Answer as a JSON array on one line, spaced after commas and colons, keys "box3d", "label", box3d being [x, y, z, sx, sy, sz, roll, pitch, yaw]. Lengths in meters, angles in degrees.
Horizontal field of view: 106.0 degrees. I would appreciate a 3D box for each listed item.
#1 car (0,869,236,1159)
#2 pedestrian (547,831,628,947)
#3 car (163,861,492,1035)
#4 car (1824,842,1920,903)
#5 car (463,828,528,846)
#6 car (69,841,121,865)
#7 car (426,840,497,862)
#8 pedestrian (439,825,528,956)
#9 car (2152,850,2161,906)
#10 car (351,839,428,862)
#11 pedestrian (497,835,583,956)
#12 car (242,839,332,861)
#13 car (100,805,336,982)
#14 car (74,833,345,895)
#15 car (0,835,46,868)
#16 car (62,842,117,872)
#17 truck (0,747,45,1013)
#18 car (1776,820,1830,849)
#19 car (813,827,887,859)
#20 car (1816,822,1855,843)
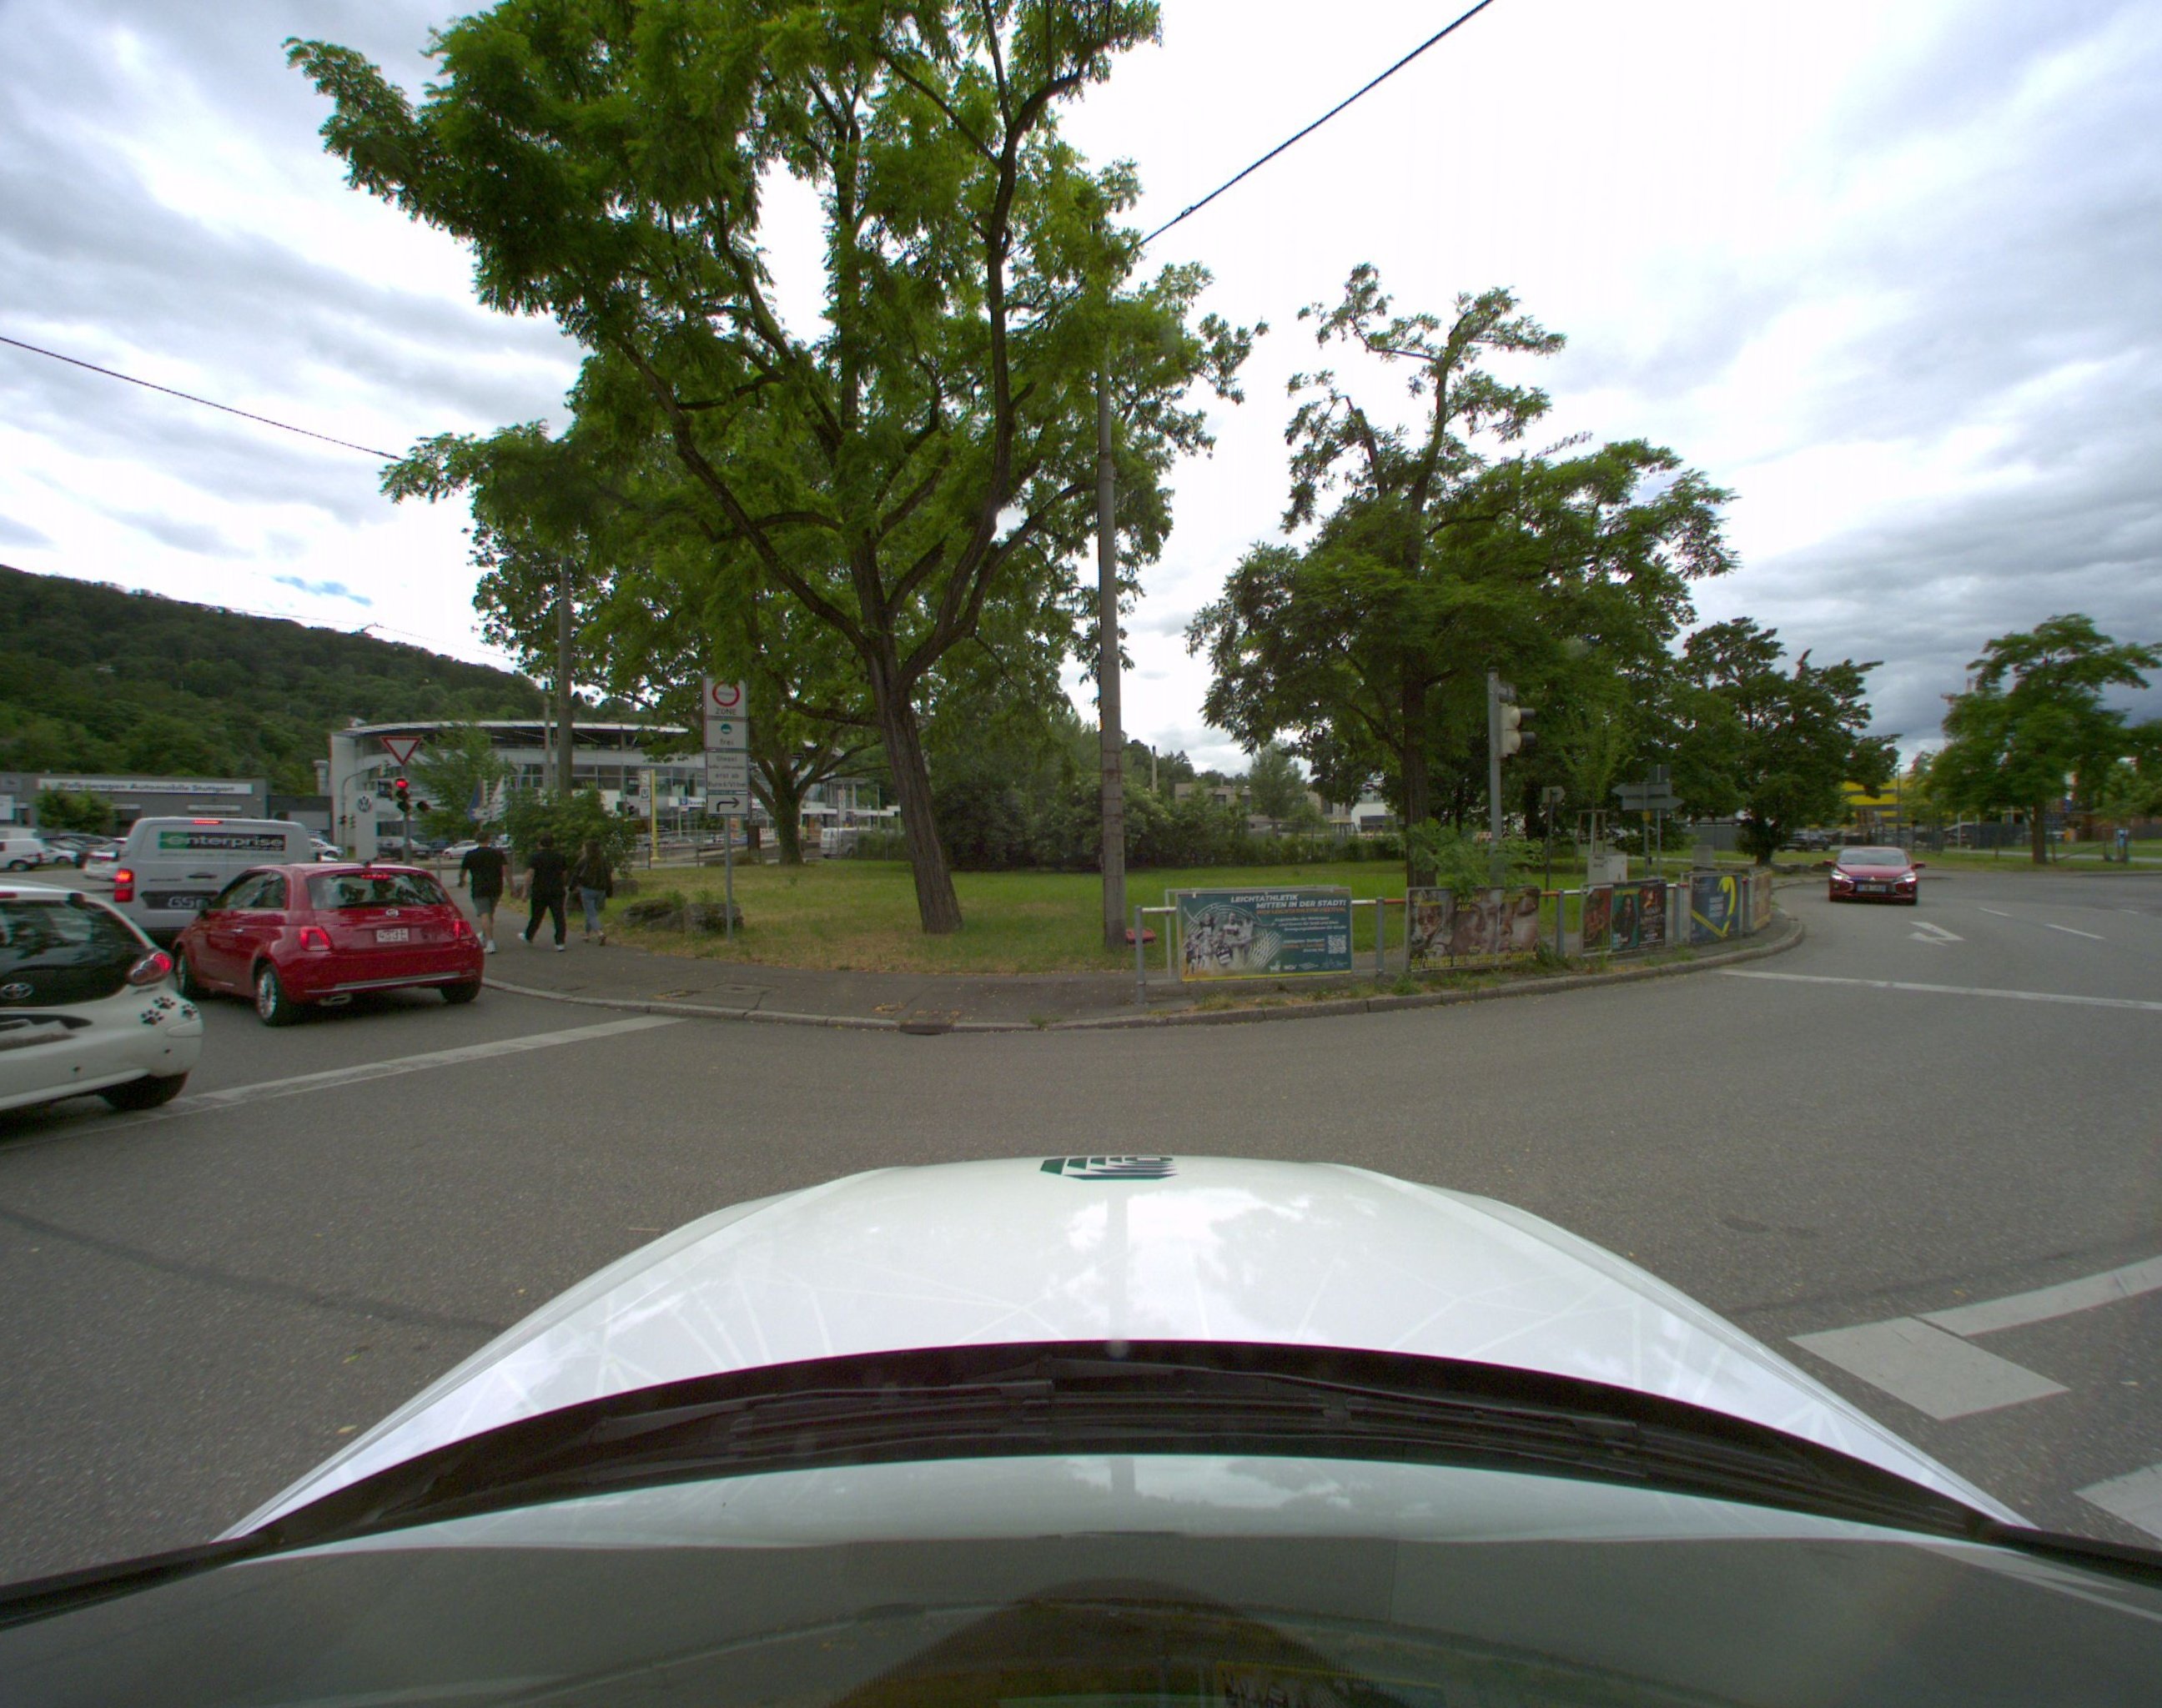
[{"box3d": [-7.176, 0.854, 4.612, 3.398, 1.432, 1.649, -1, 2, 10], "label": "car"}, {"box3d": [-7.671, 0.514, 12.671, 0.779, 1.739, 0.699, 0, 2, 23], "label": "pedestrian"}, {"box3d": [-8.022, 0.826, 8.637, 3.387, 1.456, 1.654, 0, 1, 31], "label": "car"}, {"box3d": [21.133, 0.443, 21.876, 1.711, 1.465, 3.858, -1, 0, 42], "label": "car"}, {"box3d": [-50.612, -1.442, 70.446, 4.191, 1.491, 1.795, -1, 1, -3], "label": "car"}, {"box3d": [-64.598, -0.101, 53.387, 4.040, 1.533, 1.786, 1, 2, 45], "label": "car"}, {"box3d": [-44.561, -0.212, 58.621, 3.983, 1.500, 1.781, 0, 1, 11], "label": "car"}, {"box3d": [-8.765, 0.506, 11.956, 0.779, 1.857, 0.699, 0, 2, 23], "label": "pedestrian"}, {"box3d": [29.033, 0.676, 20.764, 3.038, 1.464, 1.696, -3, 2, -44], "label": "car"}, {"box3d": [-45.956, -0.239, 54.185, 3.846, 1.500, 1.780, 0, 1, 9], "label": "car"}, {"box3d": [-7.995, 0.582, 12.046, 0.779, 1.714, 0.699, 0, 2, 23], "label": "pedestrian"}, {"box3d": [-60.386, -0.312, 62.016, 1.753, 1.533, 4.840, 1, 2, 44], "label": "car"}, {"box3d": [-12.592, 0.410, 12.009, 4.702, 2.106, 2.008, 1, 2, 44], "label": "car"}, {"box3d": [-24.538, 0.197, 23.206, 1.782, 1.507, 4.927, 1, 2, 28], "label": "car"}, {"box3d": [-65.674, -0.128, 48.516, 4.732, 1.903, 1.754, -2, 2, -43], "label": "car"}, {"box3d": [-64.988, 0.156, 53.443, 3.950, 1.815, 2.012, 1, 2, 43], "label": "car"}, {"box3d": [-12.863, 0.262, 7.894, 5.952, 2.397, 2.445, 0, 2, 28], "label": "truck"}, {"box3d": [52.791, -1.431, 59.542, 4.236, 2.013, 1.950, -1, 2, -34], "label": "car"}, {"box3d": [-15.235, -0.804, 54.041, 1.950, 2.013, 5.328, 1, 2, 19], "label": "car"}, {"box3d": [75.347, -2.194, 81.303, 4.236, 2.013, 1.950, -1, 2, -34], "label": "car"}]
